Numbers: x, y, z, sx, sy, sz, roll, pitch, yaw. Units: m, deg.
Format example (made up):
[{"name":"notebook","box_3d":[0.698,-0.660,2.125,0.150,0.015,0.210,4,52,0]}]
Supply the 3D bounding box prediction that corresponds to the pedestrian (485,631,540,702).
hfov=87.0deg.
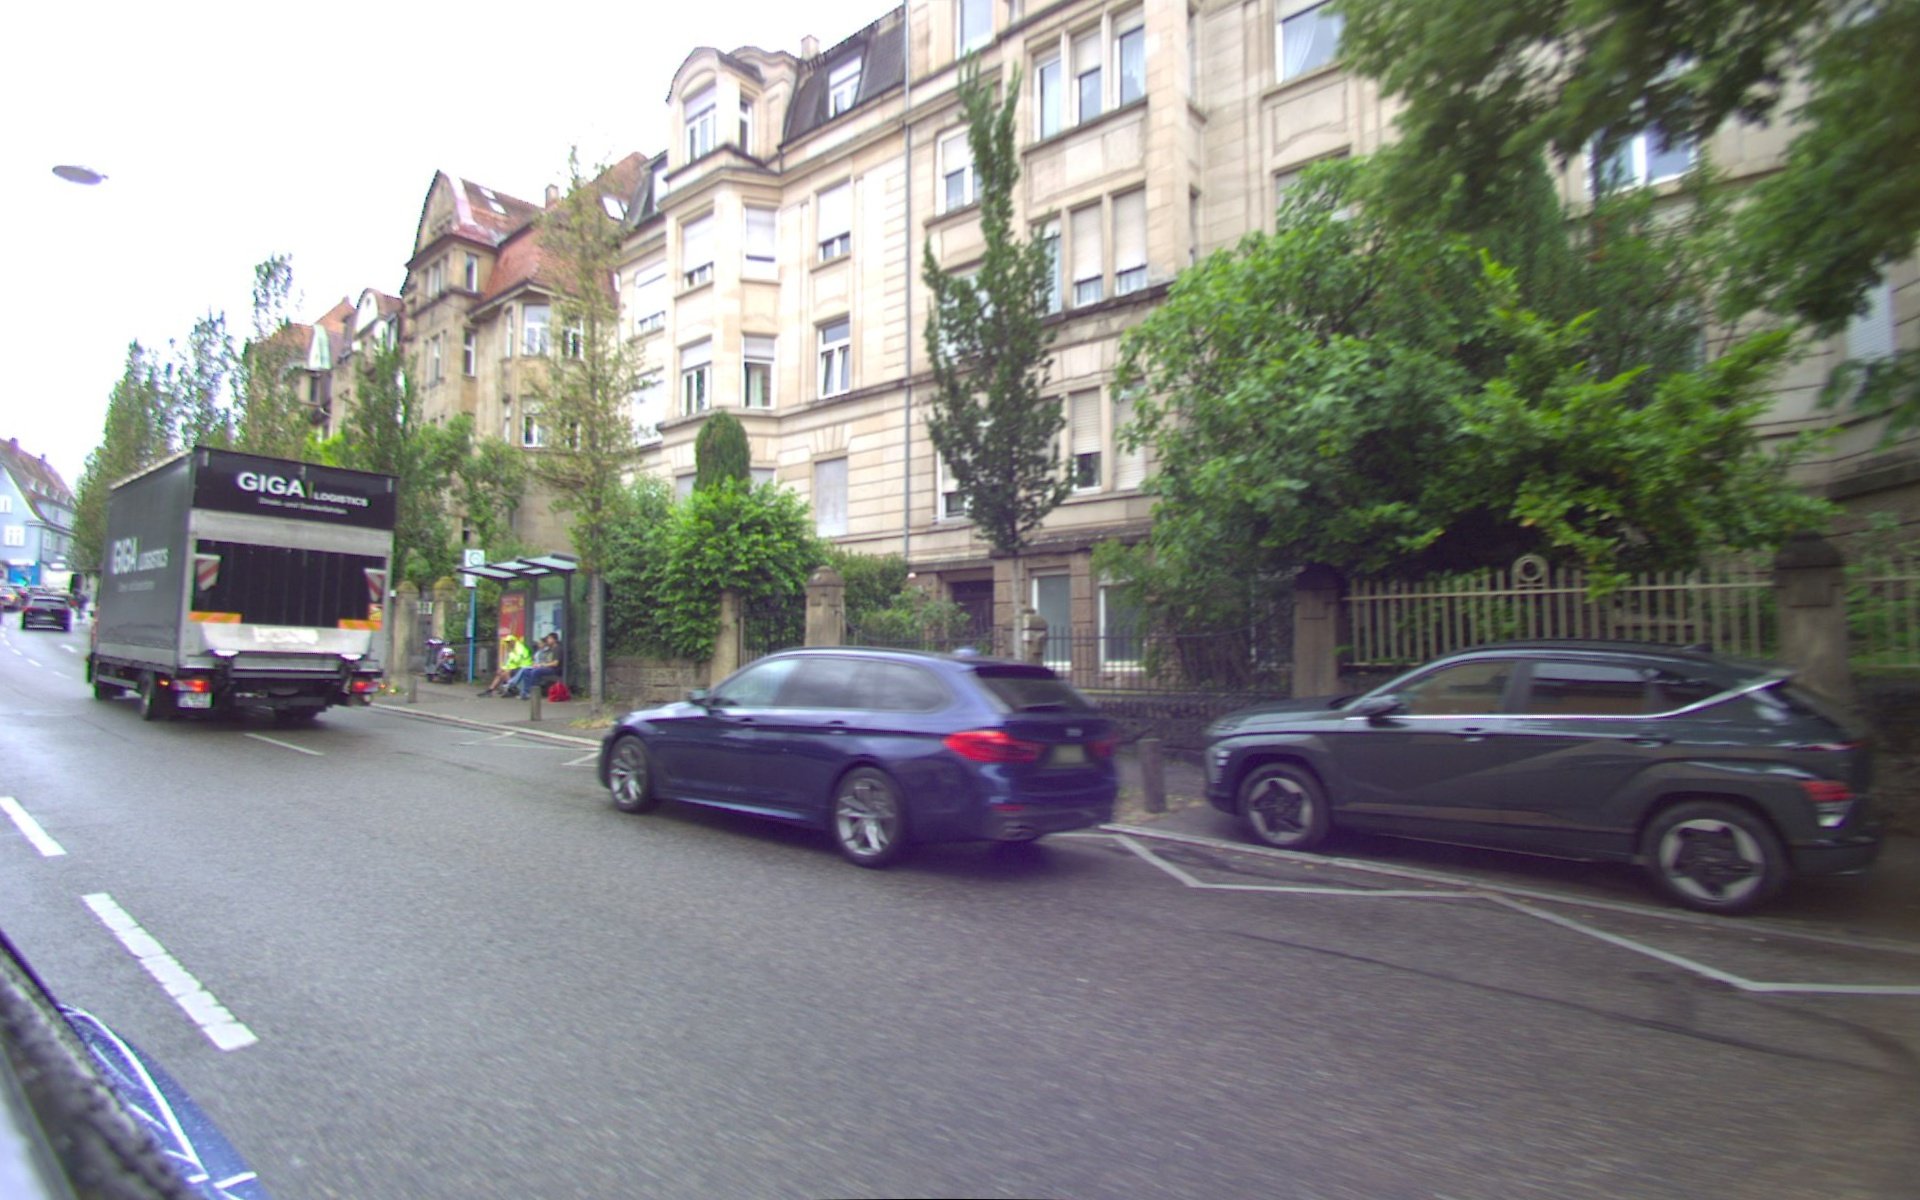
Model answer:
[{"name":"pedestrian","box_3d":[-9.555,1.409,21.601,0.759,1.443,0.758,0,-3,40]}]

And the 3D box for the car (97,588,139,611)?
[{"name":"car","box_3d":[-87.038,-0.022,104.684,2.100,2.042,5.425,5,-4,-28]}]

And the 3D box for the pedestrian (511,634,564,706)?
[{"name":"pedestrian","box_3d":[-8.720,1.429,20.876,0.649,1.443,0.757,0,-3,43]}]

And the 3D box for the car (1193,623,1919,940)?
[{"name":"car","box_3d":[4.039,1.005,7.283,4.297,1.571,1.725,0,1,38]}]

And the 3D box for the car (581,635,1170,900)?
[{"name":"car","box_3d":[-0.904,1.073,7.974,4.744,1.479,1.754,-1,-6,41]}]

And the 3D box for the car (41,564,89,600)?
[{"name":"car","box_3d":[-71.968,-1.372,81.422,2.102,2.525,5.422,5,-4,-35]}]

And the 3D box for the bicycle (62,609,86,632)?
[{"name":"bicycle","box_3d":[-48.765,1.131,55.695,1.980,1.245,0.649,0,-3,39]}]

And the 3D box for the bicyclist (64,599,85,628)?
[{"name":"bicyclist","box_3d":[-48.657,0.735,55.627,0.990,1.568,0.649,0,-3,39]}]

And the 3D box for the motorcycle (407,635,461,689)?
[{"name":"motorcycle","box_3d":[-13.091,1.525,25.174,1.763,1.246,0.648,0,-3,45]}]

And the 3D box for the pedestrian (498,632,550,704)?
[{"name":"pedestrian","box_3d":[-9.144,1.419,21.224,0.649,1.443,0.757,0,-3,43]}]

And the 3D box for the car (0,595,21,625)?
[{"name":"car","box_3d":[-59.062,0.584,62.322,1.632,1.721,4.118,6,-3,-42]}]

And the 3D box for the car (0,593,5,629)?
[{"name":"car","box_3d":[-47.846,0.489,49.355,1.632,1.721,4.118,6,-3,-42]}]

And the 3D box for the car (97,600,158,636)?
[{"name":"car","box_3d":[-39.691,0.834,48.222,1.973,1.607,3.831,-1,1,-44]}]

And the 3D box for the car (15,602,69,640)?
[{"name":"car","box_3d":[-43.520,0.979,47.964,1.723,1.529,3.873,7,-4,-43]}]

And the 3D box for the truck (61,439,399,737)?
[{"name":"truck","box_3d":[-12.805,-0.031,17.279,9.306,3.884,2.619,-1,-5,43]}]
